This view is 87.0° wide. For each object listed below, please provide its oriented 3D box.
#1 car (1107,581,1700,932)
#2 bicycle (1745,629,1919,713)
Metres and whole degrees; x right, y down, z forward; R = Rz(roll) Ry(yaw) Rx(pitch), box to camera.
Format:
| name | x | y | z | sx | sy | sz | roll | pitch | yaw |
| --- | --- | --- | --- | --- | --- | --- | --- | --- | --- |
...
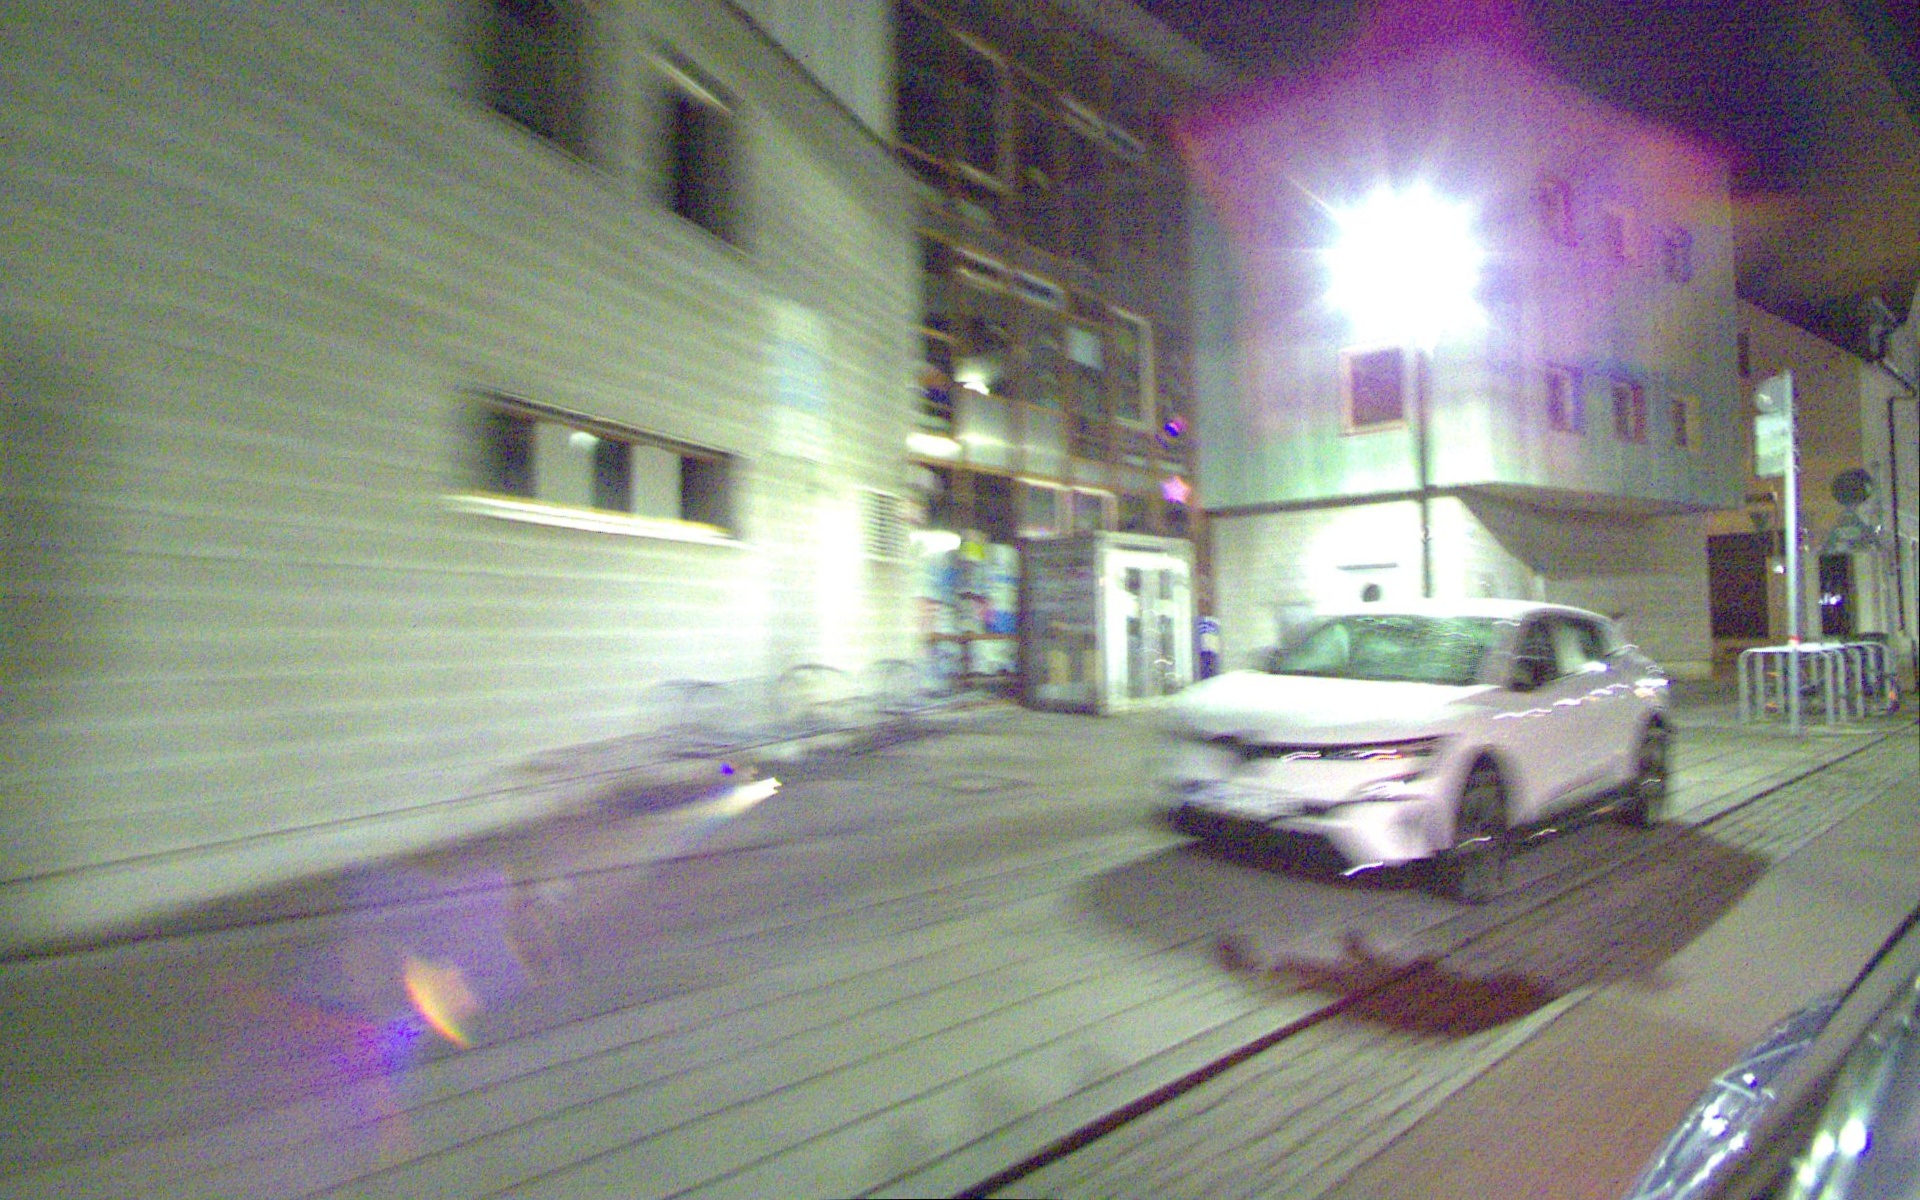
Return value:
| name | x | y | z | sx | sy | sz | roll | pitch | yaw |
| --- | --- | --- | --- | --- | --- | --- | --- | --- | --- |
| car | 2.943 | 0.673 | 6.338 | 3.986 | 1.510 | 1.793 | 0 | 0 | -39 |
| bicycle | 11.830 | 0.933 | 13.763 | 0.340 | 1.076 | 1.756 | 0 | -2 | -42 |
